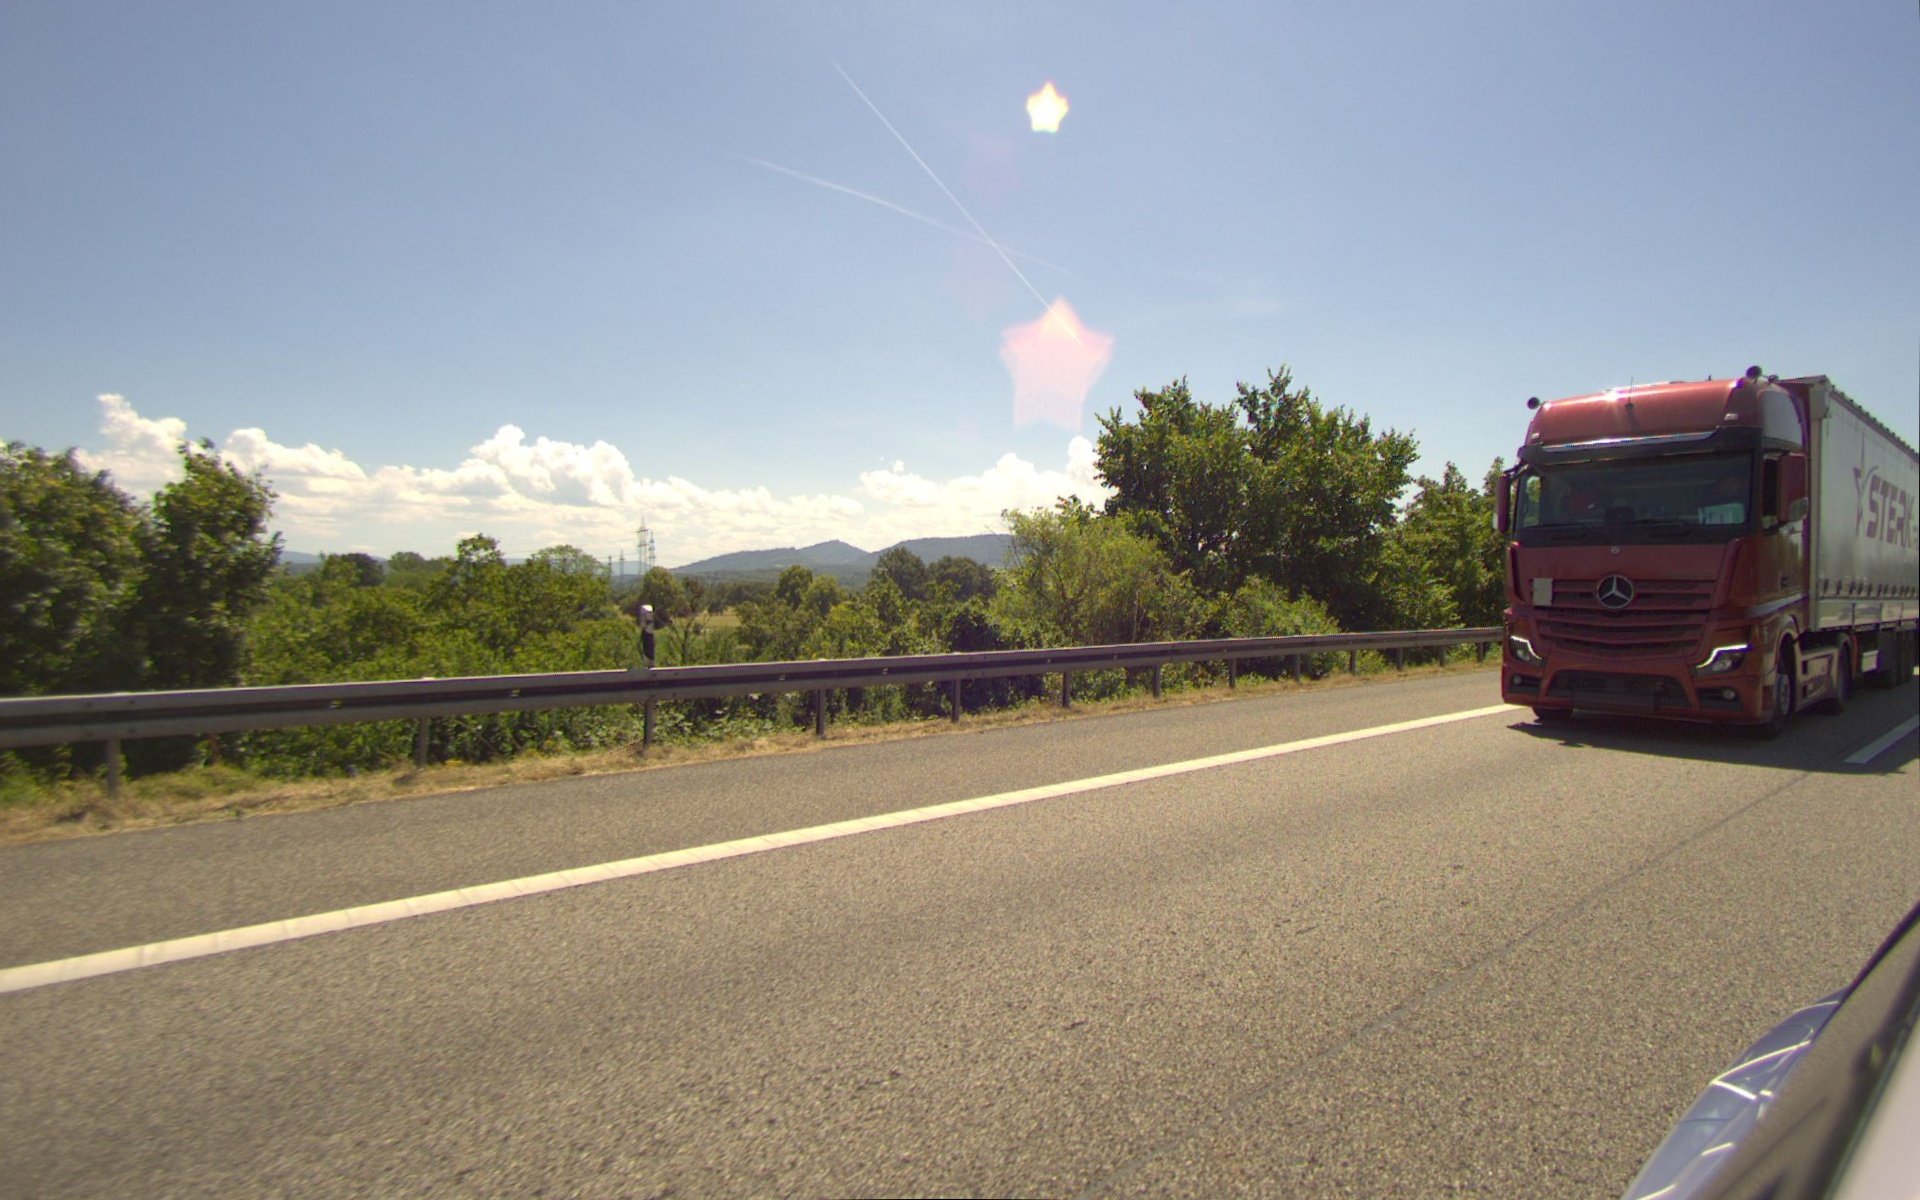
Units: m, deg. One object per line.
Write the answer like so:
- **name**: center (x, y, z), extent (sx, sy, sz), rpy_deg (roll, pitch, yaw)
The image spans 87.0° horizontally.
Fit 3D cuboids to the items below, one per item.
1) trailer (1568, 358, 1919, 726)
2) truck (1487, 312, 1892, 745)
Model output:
- **trailer**: center (14.213, -0.694, 16.979), extent (13.903, 4.140, 2.712), rpy_deg (0, 0, -41)
- **truck**: center (9.582, -0.714, 12.955), extent (6.842, 4.140, 2.712), rpy_deg (0, 0, -41)
